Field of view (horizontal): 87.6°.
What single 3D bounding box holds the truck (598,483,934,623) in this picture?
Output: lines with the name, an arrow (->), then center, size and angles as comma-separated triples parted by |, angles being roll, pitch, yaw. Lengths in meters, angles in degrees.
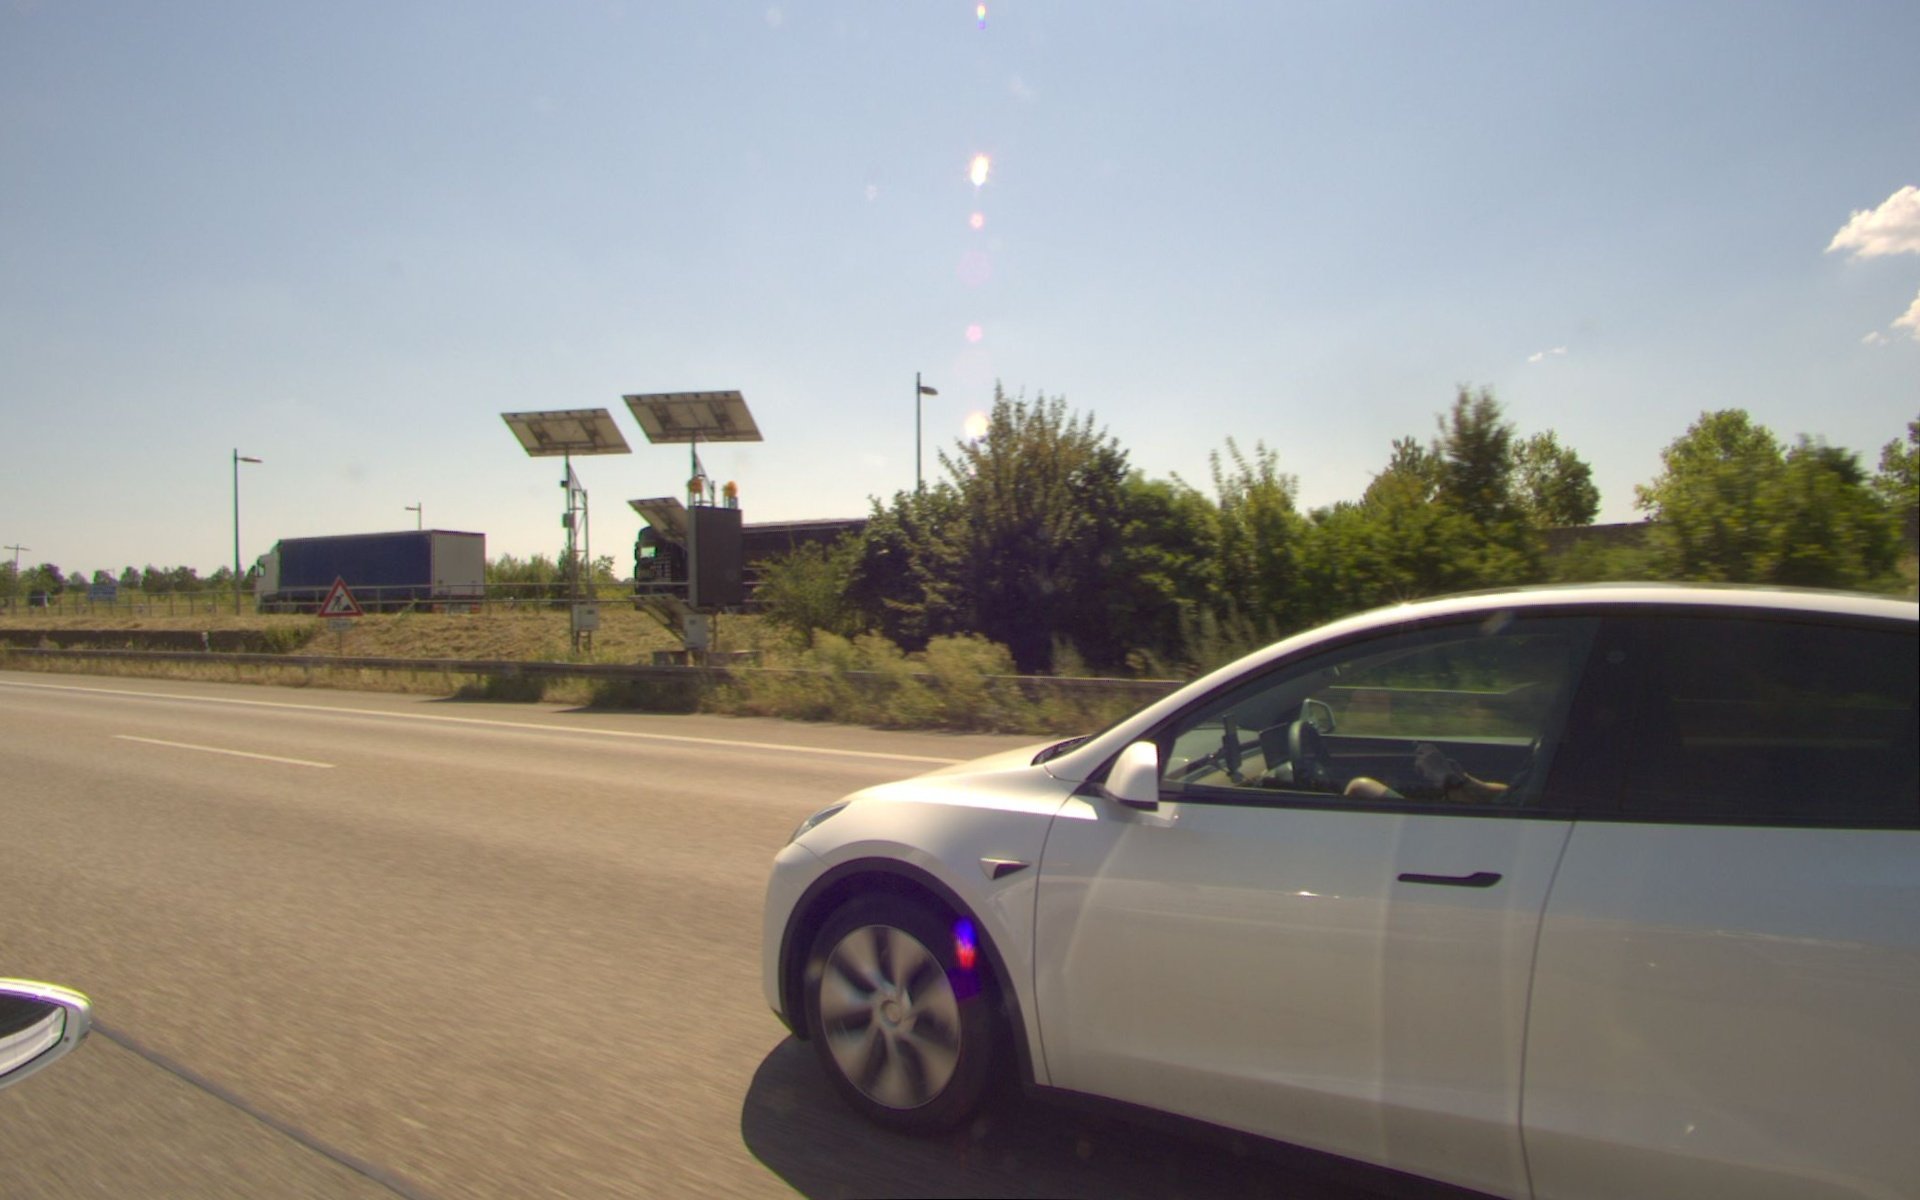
truck -> -7.101, -1.327, 35.337 | 12.336, 4.135, 3.783 | -1, -2, 31

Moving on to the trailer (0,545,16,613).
trailer -> -69.323, -1.207, 68.279 | 18.157, 4.312, 2.601 | -1, -2, 32

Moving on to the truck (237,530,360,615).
truck -> -34.981, -1.330, 52.909 | 6.306, 4.135, 3.048 | -1, -2, 32

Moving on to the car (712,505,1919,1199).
car -> 2.054, 0.700, 2.621 | 5.519, 1.657, 1.948 | -1, -2, 31

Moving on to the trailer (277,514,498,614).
trailer -> -28.052, -1.487, 48.588 | 14.053, 4.135, 3.048 | -1, -2, 32
